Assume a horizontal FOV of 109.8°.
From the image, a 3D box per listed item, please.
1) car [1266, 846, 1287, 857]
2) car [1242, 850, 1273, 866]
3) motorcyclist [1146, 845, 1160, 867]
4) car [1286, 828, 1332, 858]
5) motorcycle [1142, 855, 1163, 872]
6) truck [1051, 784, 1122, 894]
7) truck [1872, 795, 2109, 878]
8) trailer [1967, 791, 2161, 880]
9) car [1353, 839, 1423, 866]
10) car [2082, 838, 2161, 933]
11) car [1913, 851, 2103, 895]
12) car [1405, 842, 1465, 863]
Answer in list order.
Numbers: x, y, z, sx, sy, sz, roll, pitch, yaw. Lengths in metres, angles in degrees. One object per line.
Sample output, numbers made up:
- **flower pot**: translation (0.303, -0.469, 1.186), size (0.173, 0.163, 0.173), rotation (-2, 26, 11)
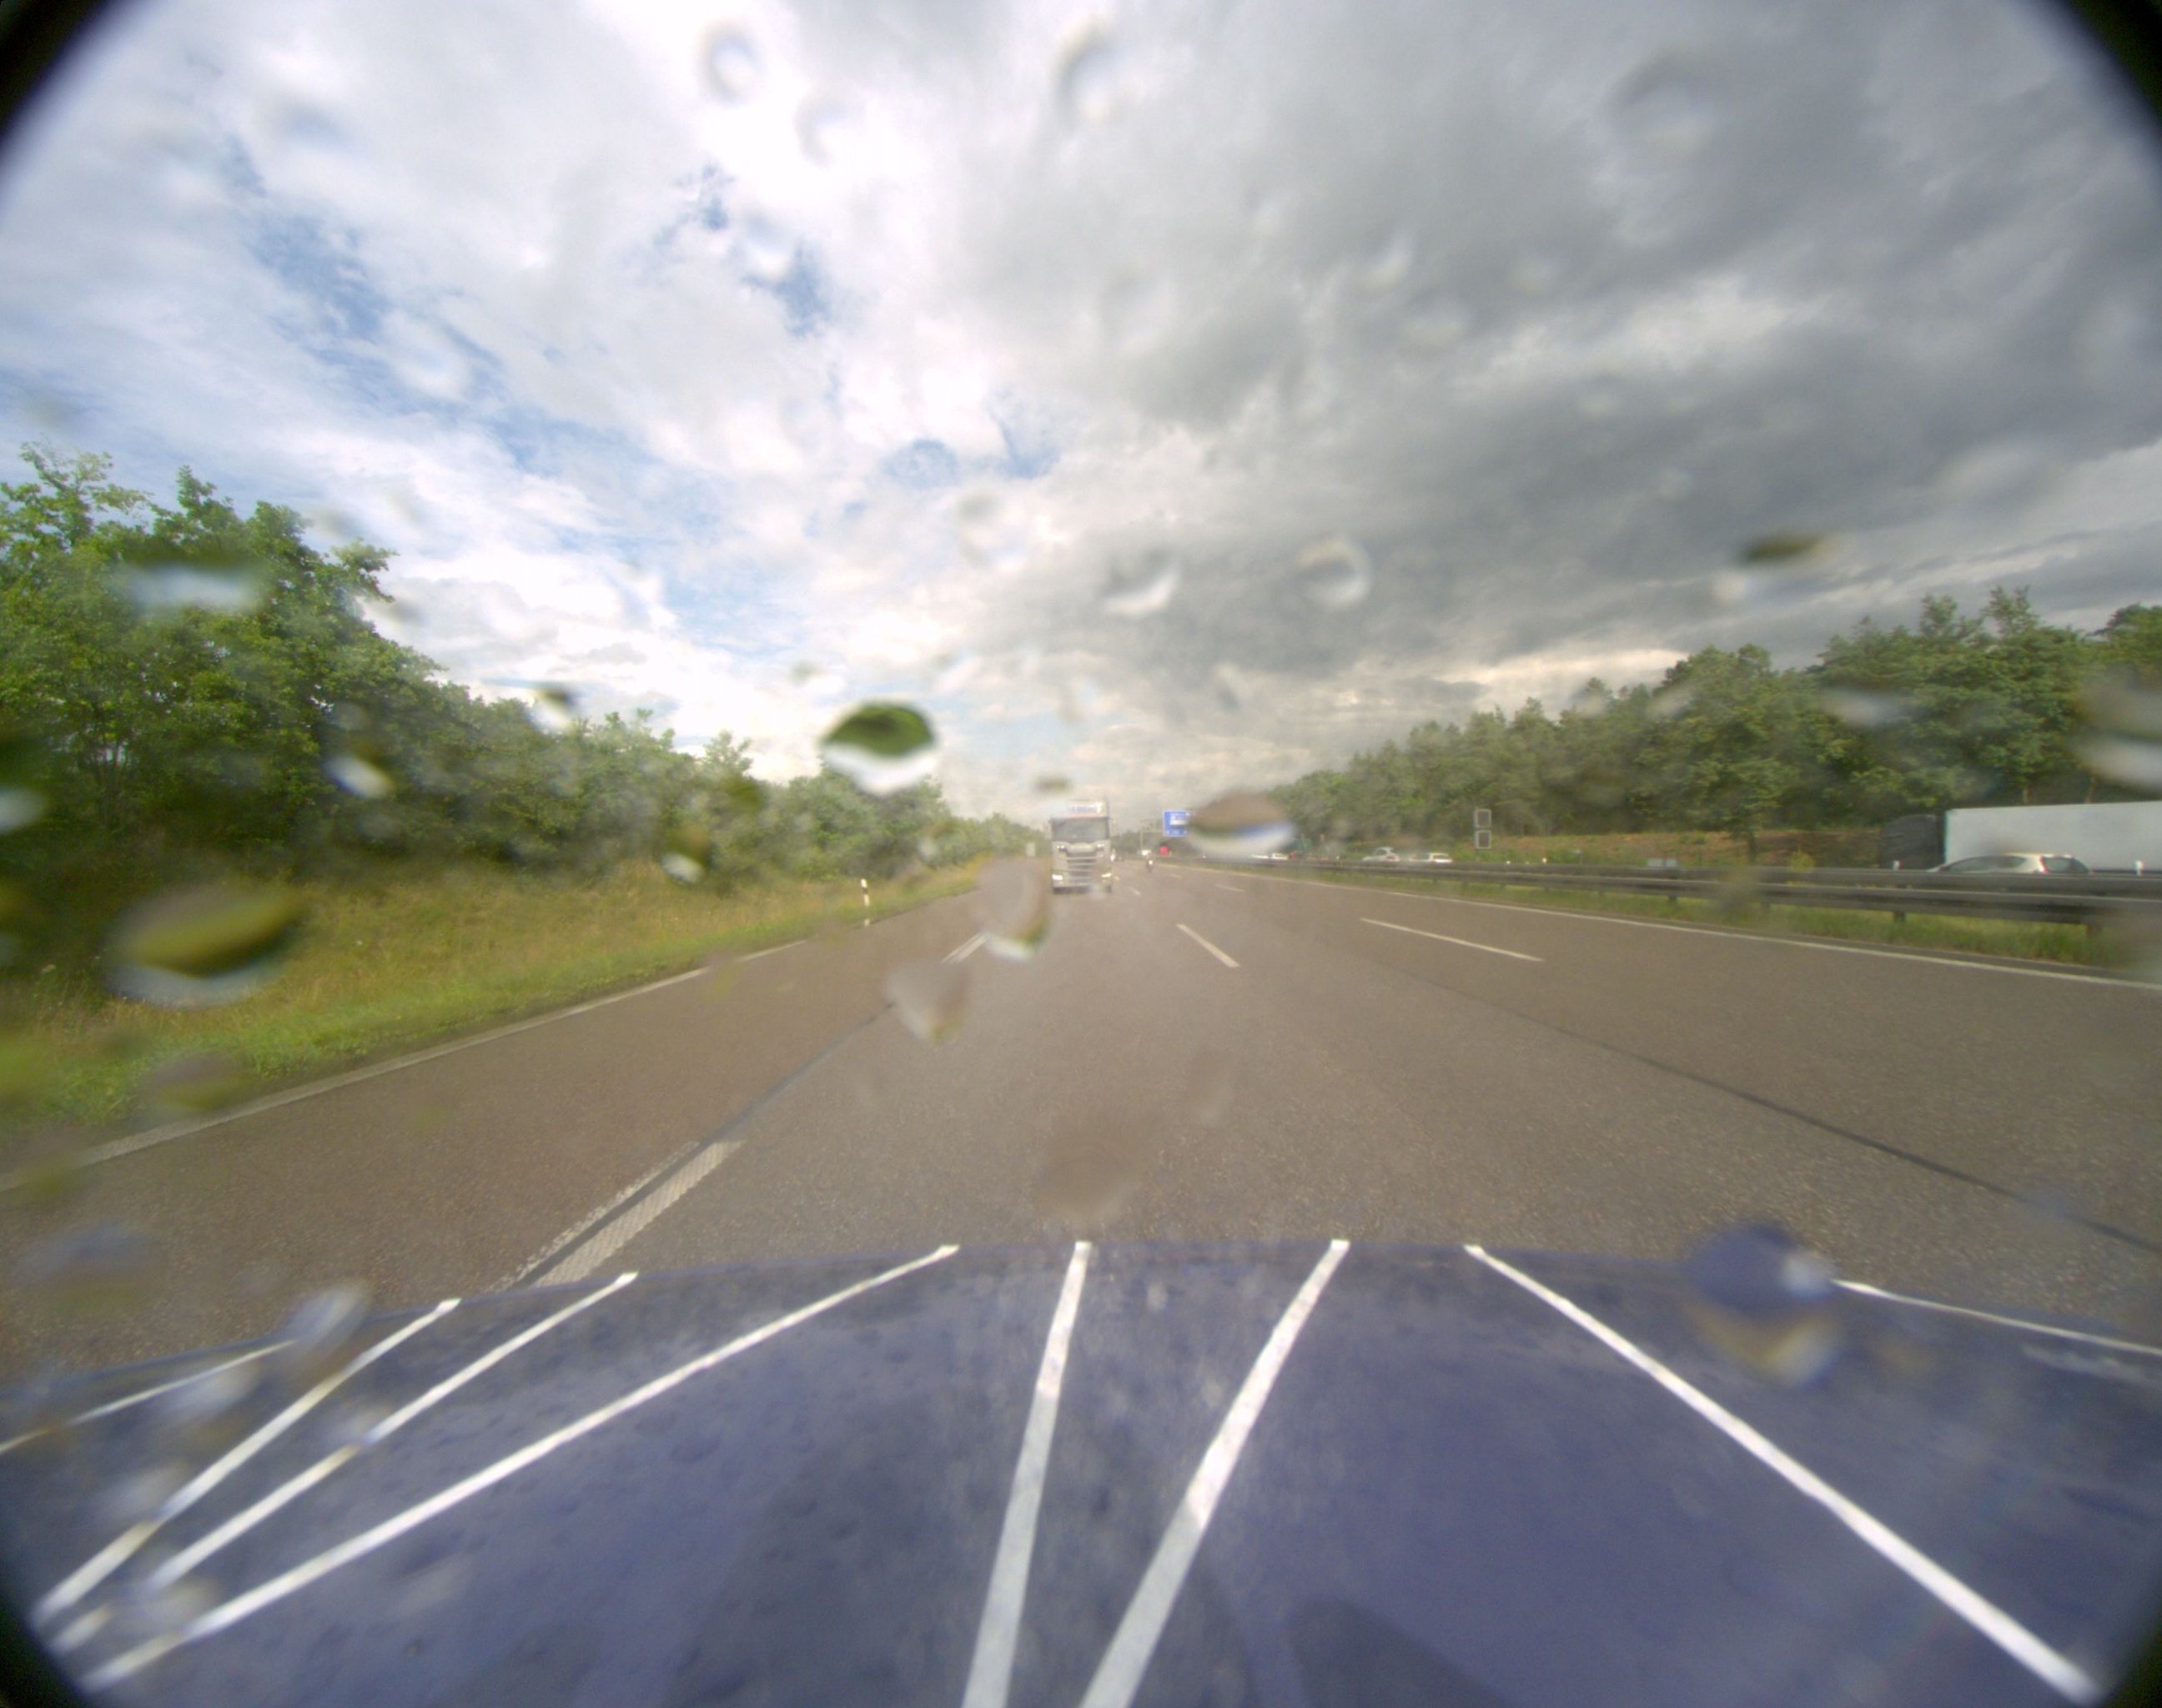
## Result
- **car**: translation (21.166, -0.303, 82.412), size (1.449, 1.051, 3.114), rotation (-2, 1, 1)
- **car**: translation (17.628, 0.373, 76.227), size (1.903, 1.384, 5.420), rotation (-2, 1, 1)
- **motorcyclist**: translation (5.627, 0.177, 59.431), size (0.883, 1.696, 1.000), rotation (-2, 1, -1)
- **car**: translation (25.297, -1.239, 84.690), size (2.951, 3.092, 7.343), rotation (-2, 1, 1)
- **motorcycle**: translation (5.588, 0.693, 59.424), size (1.188, 1.219, 3.193), rotation (-2, 1, -2)
- **truck**: translation (0.080, -0.630, 33.419), size (2.650, 4.250, 6.882), rotation (-2, 1, -2)
- **truck**: translation (45.206, -0.830, 38.162), size (3.219, 3.683, 6.908), rotation (-2, 1, -13)
- **trailer**: translation (46.727, -0.791, 31.758), size (3.215, 3.717, 12.554), rotation (-1, 0, -13)
- **car**: translation (17.495, -0.106, 43.603), size (1.903, 1.384, 5.420), rotation (-2, 1, 1)
- **car**: translation (17.105, 0.477, 10.081), size (1.835, 1.384, 4.433), rotation (-2, 1, 1)
- **car**: translation (25.429, 0.476, 21.002), size (1.449, 1.051, 3.114), rotation (-2, 1, 1)
- **car**: translation (25.477, -0.132, 54.940), size (1.978, 1.384, 5.158), rotation (-2, 1, 1)
